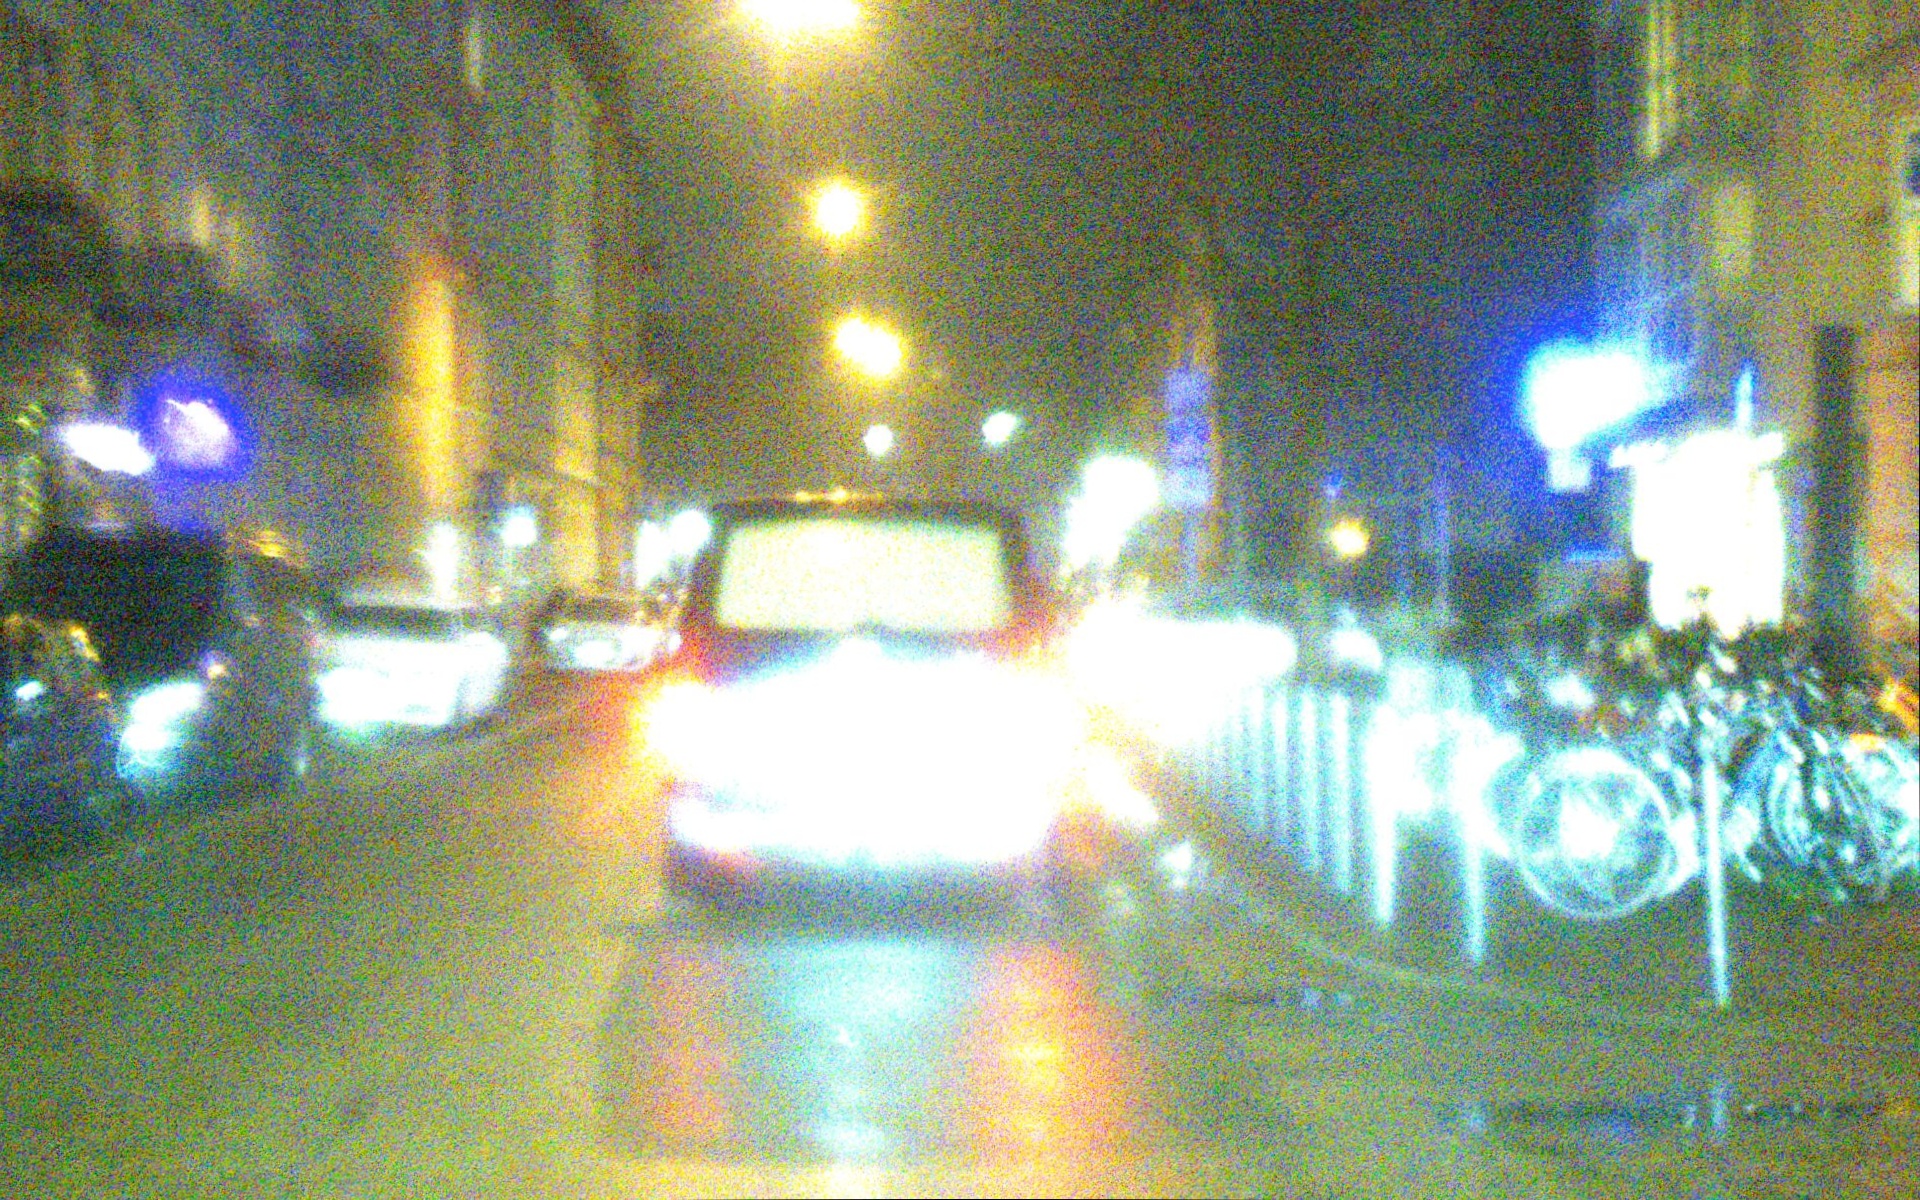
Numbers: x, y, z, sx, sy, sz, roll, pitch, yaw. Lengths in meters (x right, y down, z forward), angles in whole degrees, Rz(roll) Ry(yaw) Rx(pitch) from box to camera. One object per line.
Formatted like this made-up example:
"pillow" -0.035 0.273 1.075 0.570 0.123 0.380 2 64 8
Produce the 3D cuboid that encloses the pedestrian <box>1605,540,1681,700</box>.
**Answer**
"pedestrian" 7.764 0.223 39.110 0.703 1.782 0.624 -2 1 3

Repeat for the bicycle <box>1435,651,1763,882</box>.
"bicycle" 3.270 0.851 17.657 1.529 1.020 0.366 -6 -1 3

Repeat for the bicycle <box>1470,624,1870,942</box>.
"bicycle" 3.037 0.778 14.766 1.528 1.198 0.366 -6 -1 2

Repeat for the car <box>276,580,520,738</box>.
"car" -5.947 0.575 36.897 1.767 1.478 4.772 3 1 0

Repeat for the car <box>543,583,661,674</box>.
"car" -6.181 0.471 59.667 1.672 1.486 3.722 1 0 -1

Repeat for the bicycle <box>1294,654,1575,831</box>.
"bicycle" 3.007 0.904 21.837 1.670 0.949 0.366 -6 -1 7

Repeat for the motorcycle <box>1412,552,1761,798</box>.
"motorcycle" 4.369 0.515 24.088 2.172 1.542 0.867 -4 0 -1

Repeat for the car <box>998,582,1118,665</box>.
"car" 1.760 0.398 62.773 1.993 1.459 4.417 0 0 -1

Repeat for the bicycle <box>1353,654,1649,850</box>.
"bicycle" 3.075 0.857 19.572 1.528 0.949 0.366 -6 -1 -4

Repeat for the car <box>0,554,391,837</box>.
"car" -5.511 0.590 24.748 1.996 1.823 5.207 0 1 0

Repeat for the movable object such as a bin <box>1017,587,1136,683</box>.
"movable object such as a bin" 1.768 0.518 52.222 1.337 1.424 1.201 0 0 -37

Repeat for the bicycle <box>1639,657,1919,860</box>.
"bicycle" 4.583 0.866 18.931 1.528 0.949 0.366 -6 -1 -4

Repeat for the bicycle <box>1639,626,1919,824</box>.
"bicycle" 4.677 0.699 19.409 1.528 0.949 0.366 -6 -1 -5

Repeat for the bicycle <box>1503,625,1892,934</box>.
"bicycle" 3.255 0.786 15.218 1.528 1.198 0.366 -6 -1 -2

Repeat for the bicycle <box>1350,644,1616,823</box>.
"bicycle" 3.231 0.823 21.294 1.529 0.949 0.366 -6 -1 7

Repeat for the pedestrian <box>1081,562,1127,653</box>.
"pedestrian" 2.909 0.139 69.288 0.862 1.782 1.083 -2 1 3

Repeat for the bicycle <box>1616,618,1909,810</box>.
"bicycle" 4.653 0.656 19.952 1.528 0.949 0.366 -6 -1 -4

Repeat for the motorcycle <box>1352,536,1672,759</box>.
"motorcycle" 4.364 0.371 27.300 2.288 1.583 0.867 -4 0 -1

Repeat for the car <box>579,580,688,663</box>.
"car" -6.335 0.396 67.016 1.774 1.567 4.135 0 0 -1

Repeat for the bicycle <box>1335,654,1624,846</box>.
"bicycle" 3.013 0.867 19.976 1.528 0.949 0.366 -6 -1 -4

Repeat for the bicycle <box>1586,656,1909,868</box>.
"bicycle" 4.137 0.848 18.110 1.529 0.949 0.366 -6 -1 3

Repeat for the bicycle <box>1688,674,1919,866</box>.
"bicycle" 4.480 0.829 17.212 1.529 0.831 0.325 -6 -1 3

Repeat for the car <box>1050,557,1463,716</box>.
"car" 3.382 0.407 39.798 4.512 1.525 1.780 -4 0 -1

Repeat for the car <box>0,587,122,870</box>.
"car" -5.770 0.668 18.622 1.569 1.455 3.720 0 1 0

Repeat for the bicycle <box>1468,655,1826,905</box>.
"bicycle" 3.257 0.848 16.350 1.528 1.020 0.366 -6 -1 -2

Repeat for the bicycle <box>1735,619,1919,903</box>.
"bicycle" 4.406 0.692 15.709 1.528 1.198 0.366 -6 -1 -2

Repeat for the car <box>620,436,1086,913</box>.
"car" -0.469 0.299 17.060 1.996 2.042 4.694 0 1 0

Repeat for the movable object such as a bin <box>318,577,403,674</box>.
"movable object such as a bin" -9.276 0.386 53.267 1.101 1.449 1.379 -1 0 -3
